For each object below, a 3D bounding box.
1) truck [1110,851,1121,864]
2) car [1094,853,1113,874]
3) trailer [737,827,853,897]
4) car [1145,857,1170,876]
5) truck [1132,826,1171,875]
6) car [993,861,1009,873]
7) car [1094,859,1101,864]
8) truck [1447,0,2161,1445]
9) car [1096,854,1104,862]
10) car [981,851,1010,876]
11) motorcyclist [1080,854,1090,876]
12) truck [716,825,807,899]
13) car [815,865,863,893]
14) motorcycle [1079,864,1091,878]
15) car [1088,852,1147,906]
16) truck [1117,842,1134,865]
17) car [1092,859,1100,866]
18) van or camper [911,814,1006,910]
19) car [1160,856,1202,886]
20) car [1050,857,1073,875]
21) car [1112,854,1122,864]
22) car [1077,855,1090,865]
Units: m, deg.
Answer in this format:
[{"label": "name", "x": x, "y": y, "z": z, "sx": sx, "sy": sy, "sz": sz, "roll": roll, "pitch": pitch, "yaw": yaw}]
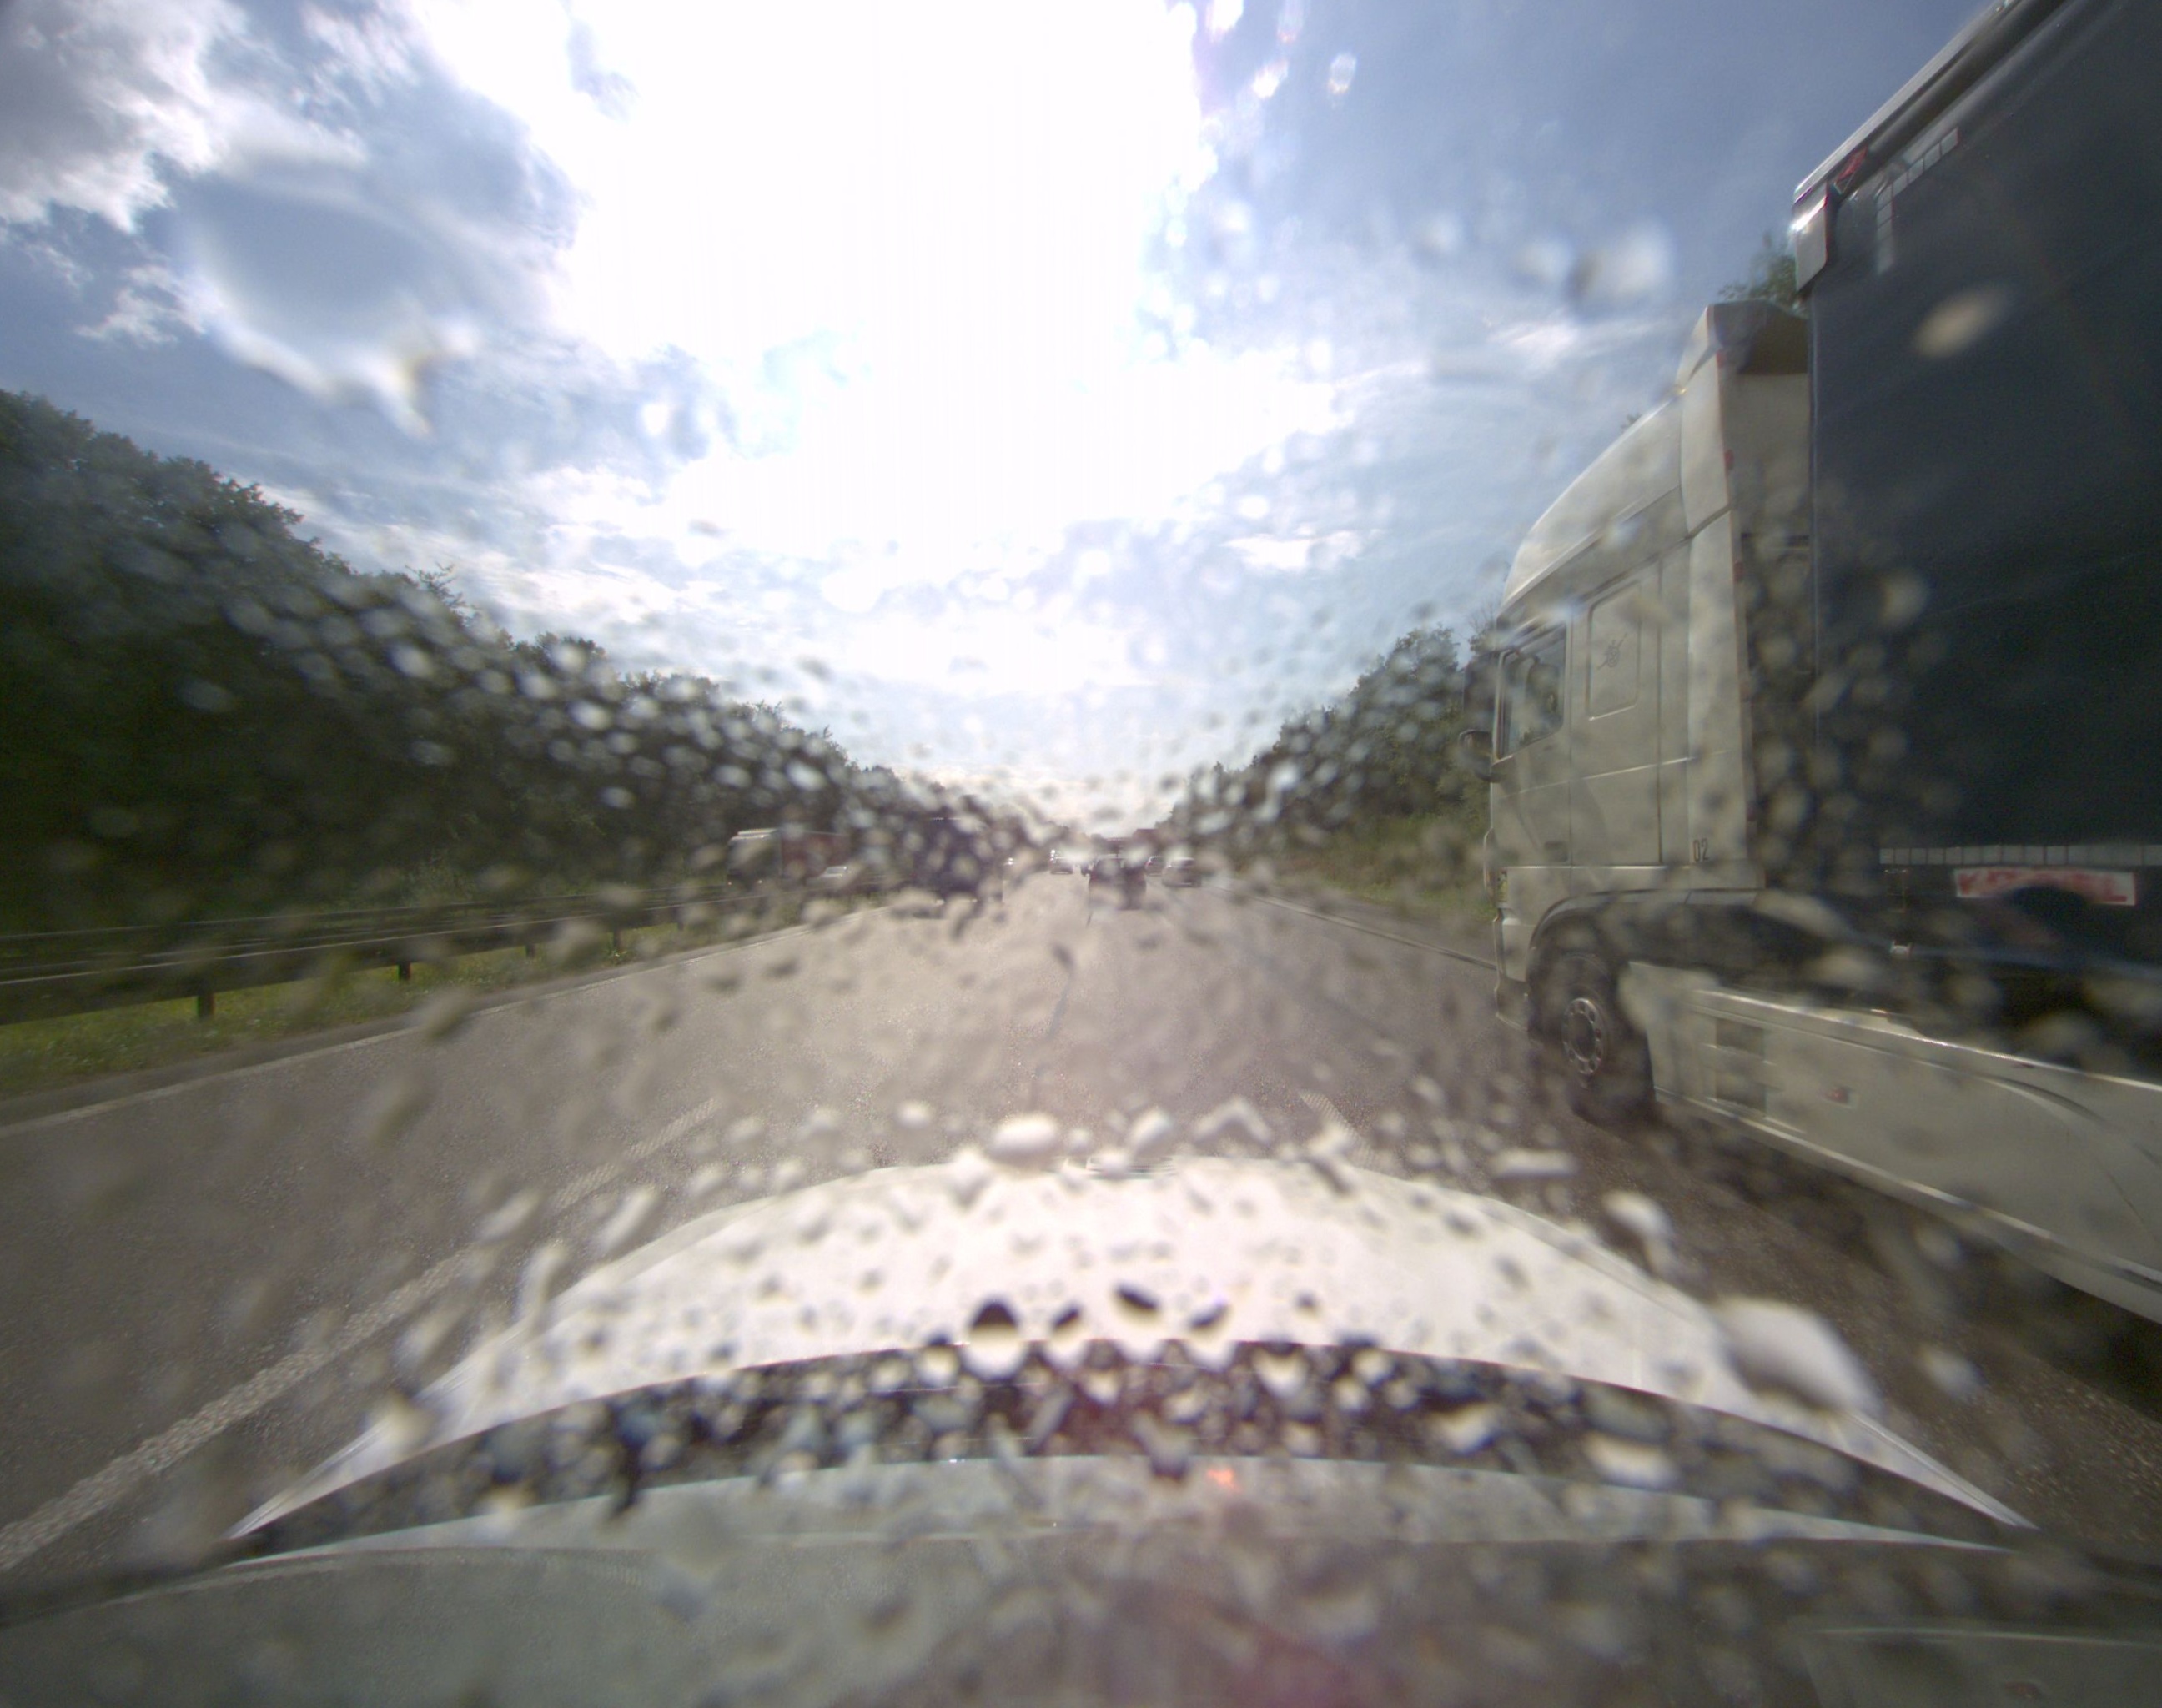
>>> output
[{"label": "truck", "x": 7.517, "y": 0.798, "z": 177.554, "sx": 2.184, "sy": 2.875, "sz": 4.851, "roll": 0, "pitch": -1, "yaw": 1}, {"label": "car", "x": 1.963, "y": 0.836, "z": 70.959, "sx": 1.526, "sy": 1.746, "sz": 3.485, "roll": 0, "pitch": -1, "yaw": 1}, {"label": "trailer", "x": -19.755, "y": 0.543, "z": 57.645, "sx": 2.852, "sy": 4.373, "sz": 14.096, "roll": 0, "pitch": 0, "yaw": 2}, {"label": "car", "x": 5.859, "y": 0.940, "z": 63.035, "sx": 1.674, "sy": 1.442, "sz": 3.906, "roll": 0, "pitch": 0, "yaw": 1}, {"label": "truck", "x": 7.333, "y": -0.261, "z": 87.047, "sx": 3.634, "sy": 4.720, "sz": 16.792, "roll": 0, "pitch": 0, "yaw": 3}, {"label": "car", "x": -10.940, "y": 1.740, "z": 111.507, "sx": 1.725, "sy": 1.663, "sz": 4.237, "roll": 0, "pitch": 0, "yaw": 1}, {"label": "car", "x": 3.906, "y": 1.808, "z": 194.875, "sx": 1.543, "sy": 1.267, "sz": 3.485, "roll": 0, "pitch": 0, "yaw": 1}, {"label": "truck", "x": 3.932, "y": -0.572, "z": 2.542, "sx": 2.596, "sy": 3.996, "sz": 7.296, "roll": -1, "pitch": -1, "yaw": 3}, {"label": "car", "x": 5.002, "y": 1.044, "z": 215.999, "sx": 1.986, "sy": 2.013, "sz": 4.002, "roll": -2, "pitch": 0, "yaw": 2}, {"label": "car", "x": -8.497, "y": 0.918, "z": 81.664, "sx": 2.175, "sy": 2.452, "sz": 5.749, "roll": 0, "pitch": 0, "yaw": 1}, {"label": "motorcyclist", "x": 0.318, "y": 0.848, "z": 62.994, "sx": 0.799, "sy": 1.633, "sz": 1.013, "roll": 0, "pitch": -1, "yaw": 1}, {"label": "truck", "x": -19.938, "y": 0.496, "z": 51.296, "sx": 2.852, "sy": 4.373, "sz": 6.870, "roll": 0, "pitch": -1, "yaw": 1}, {"label": "car", "x": -15.590, "y": 1.581, "z": 52.669, "sx": 1.693, "sy": 1.663, "sz": 4.237, "roll": 0, "pitch": 0, "yaw": 1}, {"label": "motorcycle", "x": 0.308, "y": 1.296, "z": 63.034, "sx": 0.887, "sy": 1.000, "sz": 2.897, "roll": 0, "pitch": 0, "yaw": 2}, {"label": "car", "x": 1.110, "y": 0.758, "z": 25.654, "sx": 1.711, "sy": 1.568, "sz": 3.485, "roll": 0, "pitch": 0, "yaw": 1}, {"label": "truck", "x": 8.939, "y": -0.078, "z": 162.525, "sx": 3.242, "sy": 4.479, "sz": 12.431, "roll": 0, "pitch": 0, "yaw": 3}, {"label": "car", "x": 3.152, "y": 1.730, "z": 171.677, "sx": 1.479, "sy": 1.390, "sz": 3.199, "roll": 0, "pitch": 0, "yaw": 1}, {"label": "van or camper", "x": -3.653, "y": 0.240, "z": 25.269, "sx": 1.986, "sy": 2.669, "sz": 5.386, "roll": 0, "pitch": 0, "yaw": 1}, {"label": "car", "x": 4.983, "y": 0.830, "z": 40.865, "sx": 1.686, "sy": 1.425, "sz": 4.221, "roll": 0, "pitch": 0, "yaw": 1}, {"label": "car", "x": -1.747, "y": 1.056, "z": 72.327, "sx": 1.848, "sy": 1.551, "sz": 3.485, "roll": 0, "pitch": 0, "yaw": 1}, {"label": "car", "x": 5.332, "y": 0.765, "z": 120.985, "sx": 1.547, "sy": 1.383, "sz": 3.211, "roll": 0, "pitch": 0, "yaw": 1}, {"label": "car", "x": 0.346, "y": 0.865, "z": 117.585, "sx": 1.745, "sy": 1.457, "sz": 3.390, "roll": 0, "pitch": 0, "yaw": 1}]
